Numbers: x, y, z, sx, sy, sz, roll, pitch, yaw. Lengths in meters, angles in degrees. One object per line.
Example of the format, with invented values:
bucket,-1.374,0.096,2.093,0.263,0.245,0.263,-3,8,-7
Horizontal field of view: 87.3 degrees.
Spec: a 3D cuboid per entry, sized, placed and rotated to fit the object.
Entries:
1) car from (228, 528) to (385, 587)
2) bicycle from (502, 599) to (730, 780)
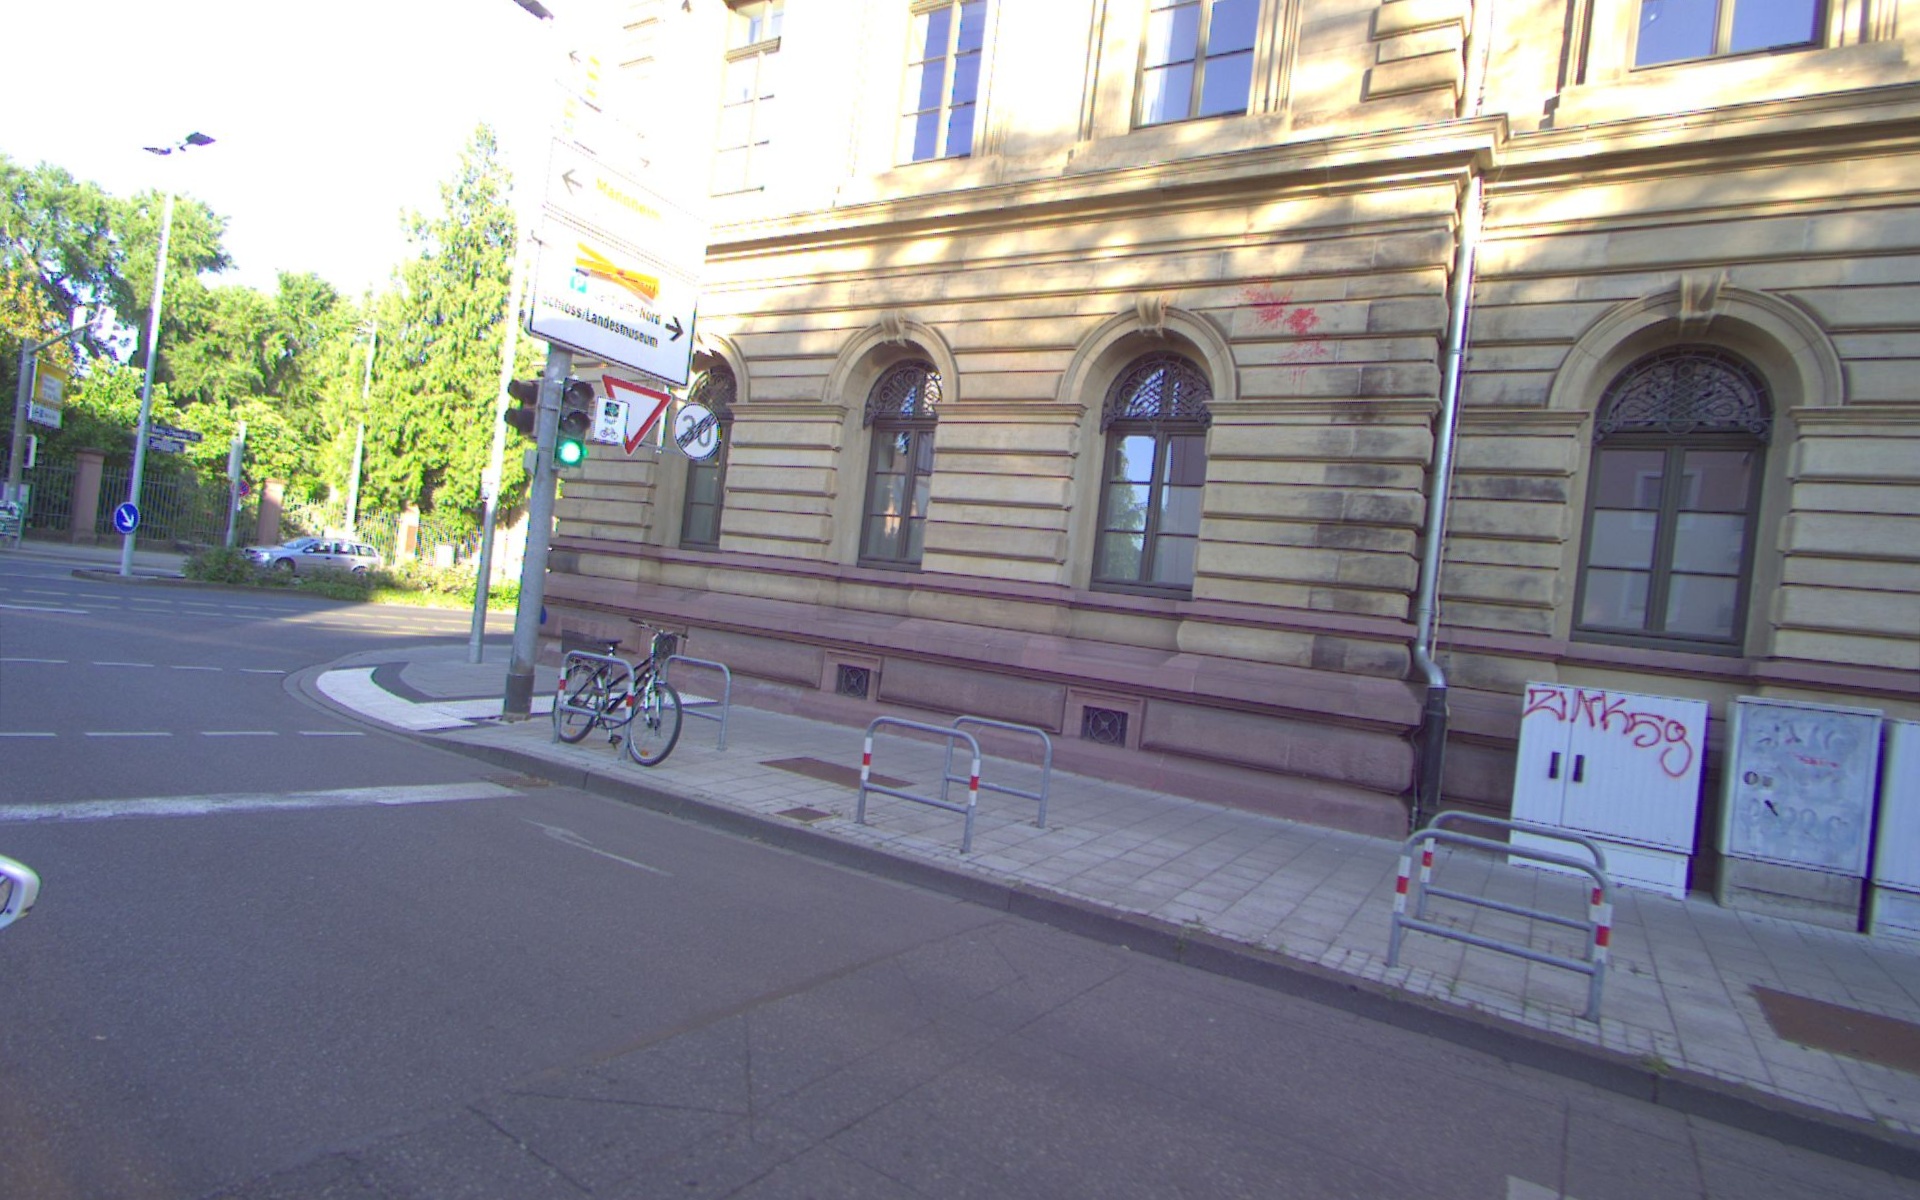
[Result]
car,-22.630,-1.436,35.022,1.685,1.462,4.195,7,-1,27
bicycle,-2.799,0.675,8.112,1.889,1.203,0.583,5,-1,32
